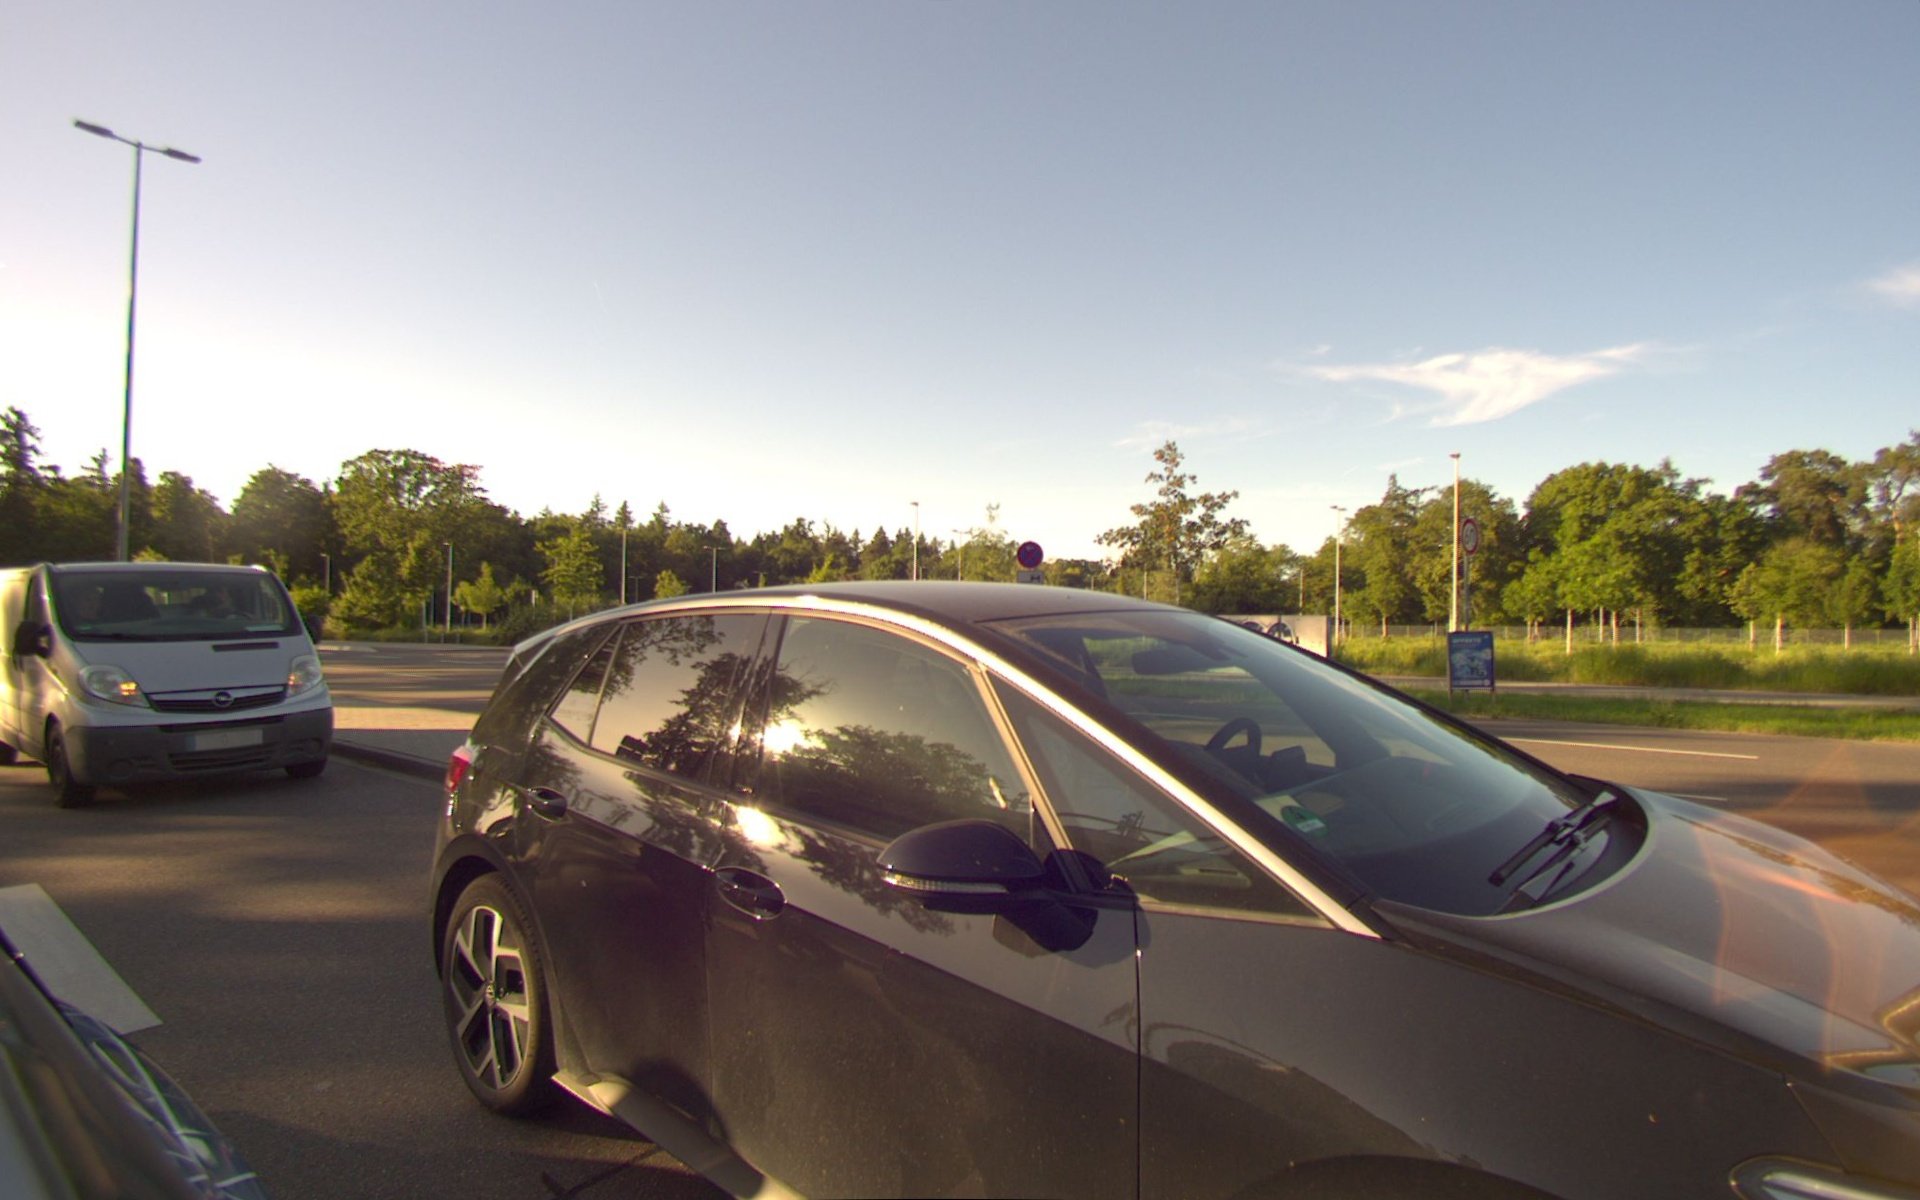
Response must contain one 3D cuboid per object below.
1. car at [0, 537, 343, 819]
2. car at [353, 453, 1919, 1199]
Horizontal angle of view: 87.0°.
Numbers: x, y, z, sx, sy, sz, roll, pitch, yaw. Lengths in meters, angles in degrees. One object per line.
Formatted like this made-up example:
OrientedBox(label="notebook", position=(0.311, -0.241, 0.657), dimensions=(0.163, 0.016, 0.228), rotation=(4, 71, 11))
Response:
OrientedBox(label="car", position=(-7.739, 0.594, 9.468), dimensions=(5.045, 1.977, 1.859), rotation=(-2, -1, 40))
OrientedBox(label="car", position=(0.239, 0.652, 2.564), dimensions=(3.997, 1.548, 1.859), rotation=(-1, 0, 40))
